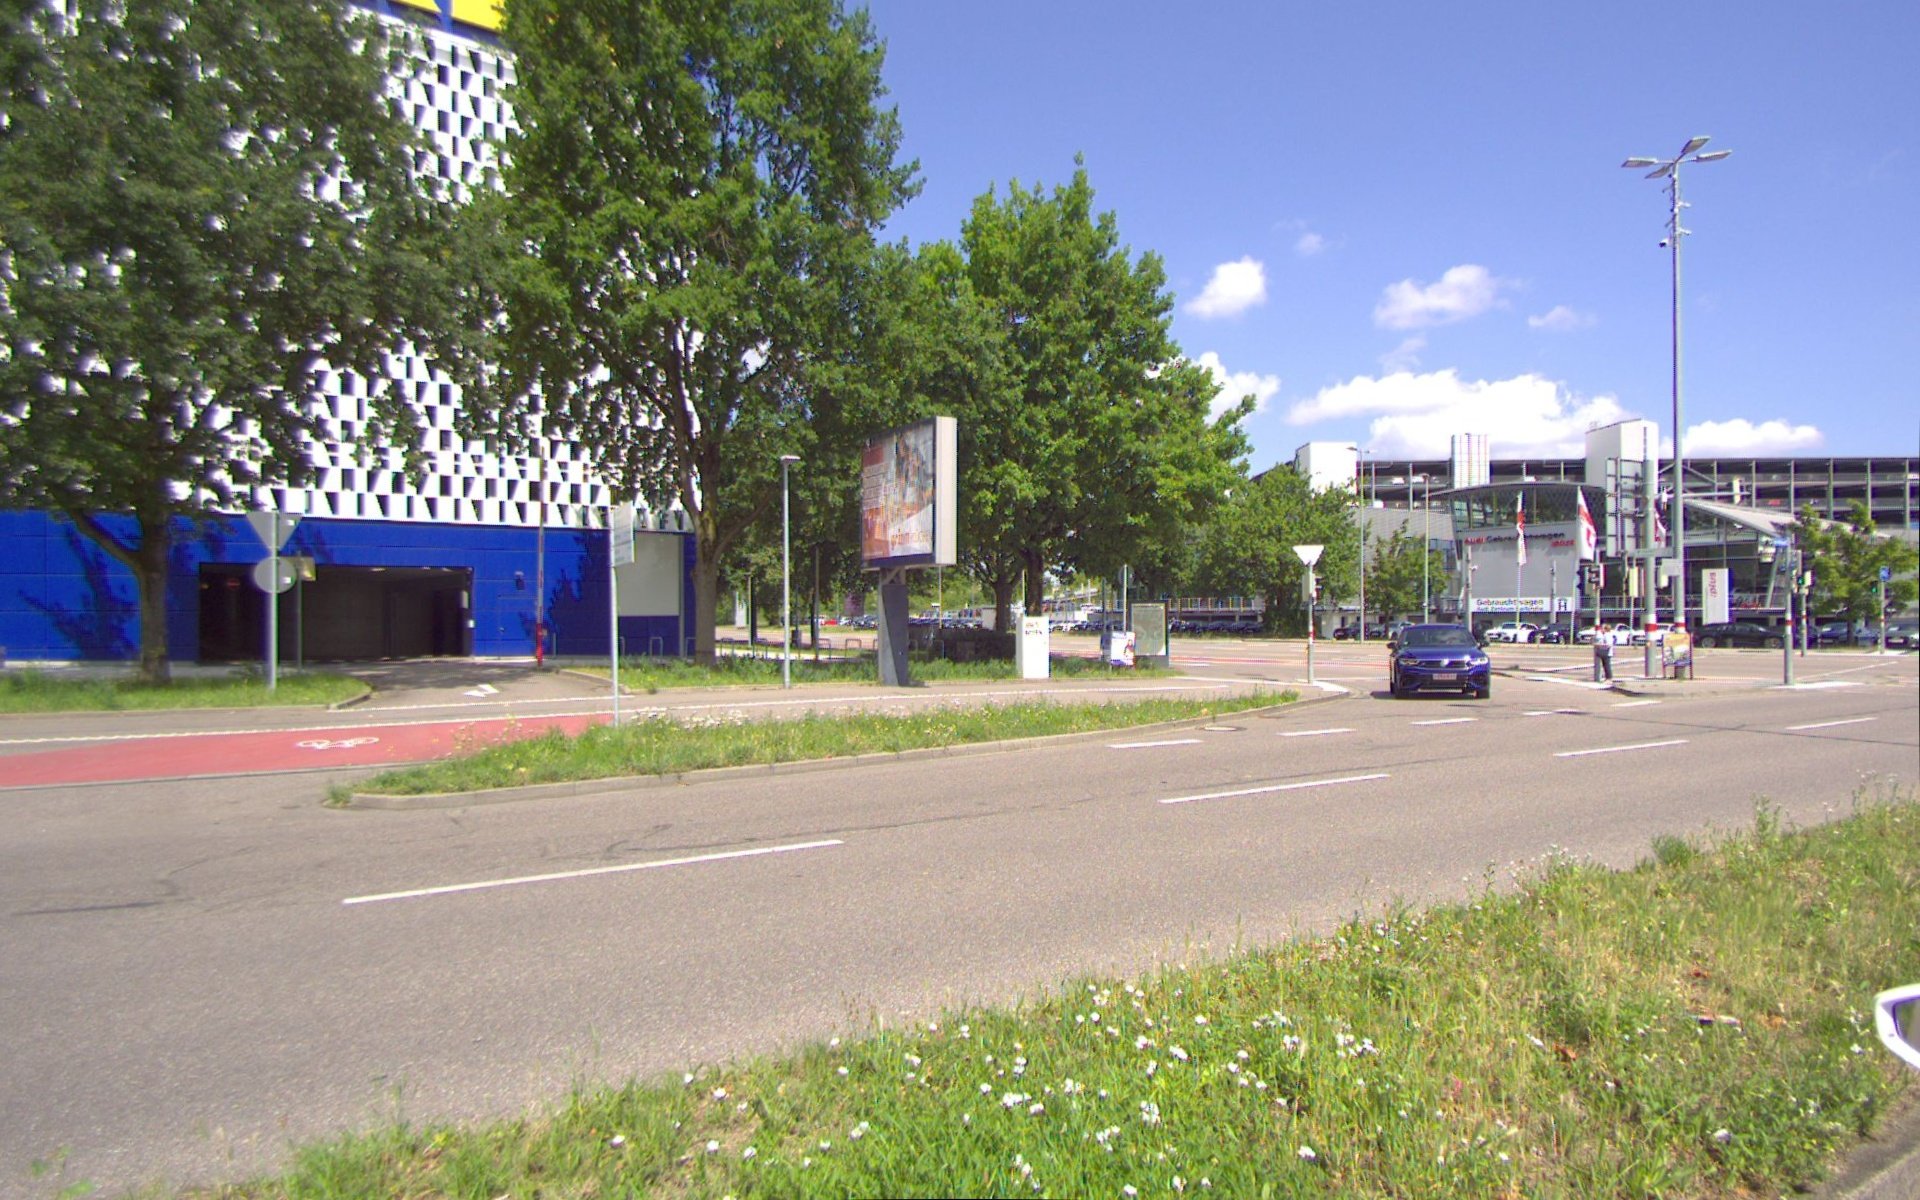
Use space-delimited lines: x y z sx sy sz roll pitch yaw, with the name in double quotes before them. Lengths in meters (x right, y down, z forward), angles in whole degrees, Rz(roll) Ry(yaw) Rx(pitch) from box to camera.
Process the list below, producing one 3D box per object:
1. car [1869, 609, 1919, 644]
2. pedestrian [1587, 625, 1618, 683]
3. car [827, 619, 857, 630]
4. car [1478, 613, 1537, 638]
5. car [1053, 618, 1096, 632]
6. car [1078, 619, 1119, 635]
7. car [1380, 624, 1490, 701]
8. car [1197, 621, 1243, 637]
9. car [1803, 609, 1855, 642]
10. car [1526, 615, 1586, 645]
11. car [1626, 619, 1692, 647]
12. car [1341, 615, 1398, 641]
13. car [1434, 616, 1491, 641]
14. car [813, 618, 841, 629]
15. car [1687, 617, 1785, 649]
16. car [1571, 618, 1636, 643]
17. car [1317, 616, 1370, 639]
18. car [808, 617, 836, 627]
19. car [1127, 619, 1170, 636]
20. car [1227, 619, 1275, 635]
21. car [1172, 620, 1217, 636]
"car" 44.315 1.234 47.619 1.797 1.572 3.977 1 0 43
"pedestrian" 17.070 1.426 26.707 0.502 1.532 0.470 1 0 -5
"car" -16.241 3.402 138.213 3.687 1.409 1.689 1 0 -30
"car" 34.159 1.575 62.662 3.664 1.506 1.866 0 0 -35
"car" 11.282 2.427 98.938 3.953 1.271 1.789 0 0 -30
"car" 12.578 2.491 91.400 3.463 1.409 1.583 1 0 -30
"car" 10.457 1.360 22.358 1.962 1.529 3.999 -3 -3 23
"car" 20.605 2.293 79.665 3.463 1.207 1.583 1 0 -30
"car" 43.065 1.247 49.761 1.797 1.572 3.977 1 0 43
"car" 35.832 1.793 60.383 3.579 1.682 1.746 0 0 -35
"car" 38.931 1.808 55.918 3.987 1.469 1.765 0 0 -34
"car" 27.600 1.861 67.674 3.754 1.686 1.804 1 0 -34
"car" 32.537 1.813 65.006 3.662 1.506 1.717 0 0 -34
"car" -18.947 3.368 143.216 3.687 1.409 1.689 1 0 -30
"car" 40.447 1.685 52.435 1.662 1.533 3.768 0 0 -35
"car" 37.367 1.748 58.327 3.713 1.394 1.895 0 0 -34
"car" 27.038 1.909 70.836 3.664 1.508 1.825 0 0 -35
"car" -20.034 3.157 145.485 3.687 1.409 1.689 1 0 -30
"car" 16.175 2.319 86.328 3.463 1.409 1.583 1 0 -30
"car" 22.457 2.095 77.530 3.463 1.207 1.583 1 0 -30
"car" 19.099 2.282 81.922 3.463 1.207 1.583 1 0 -30
